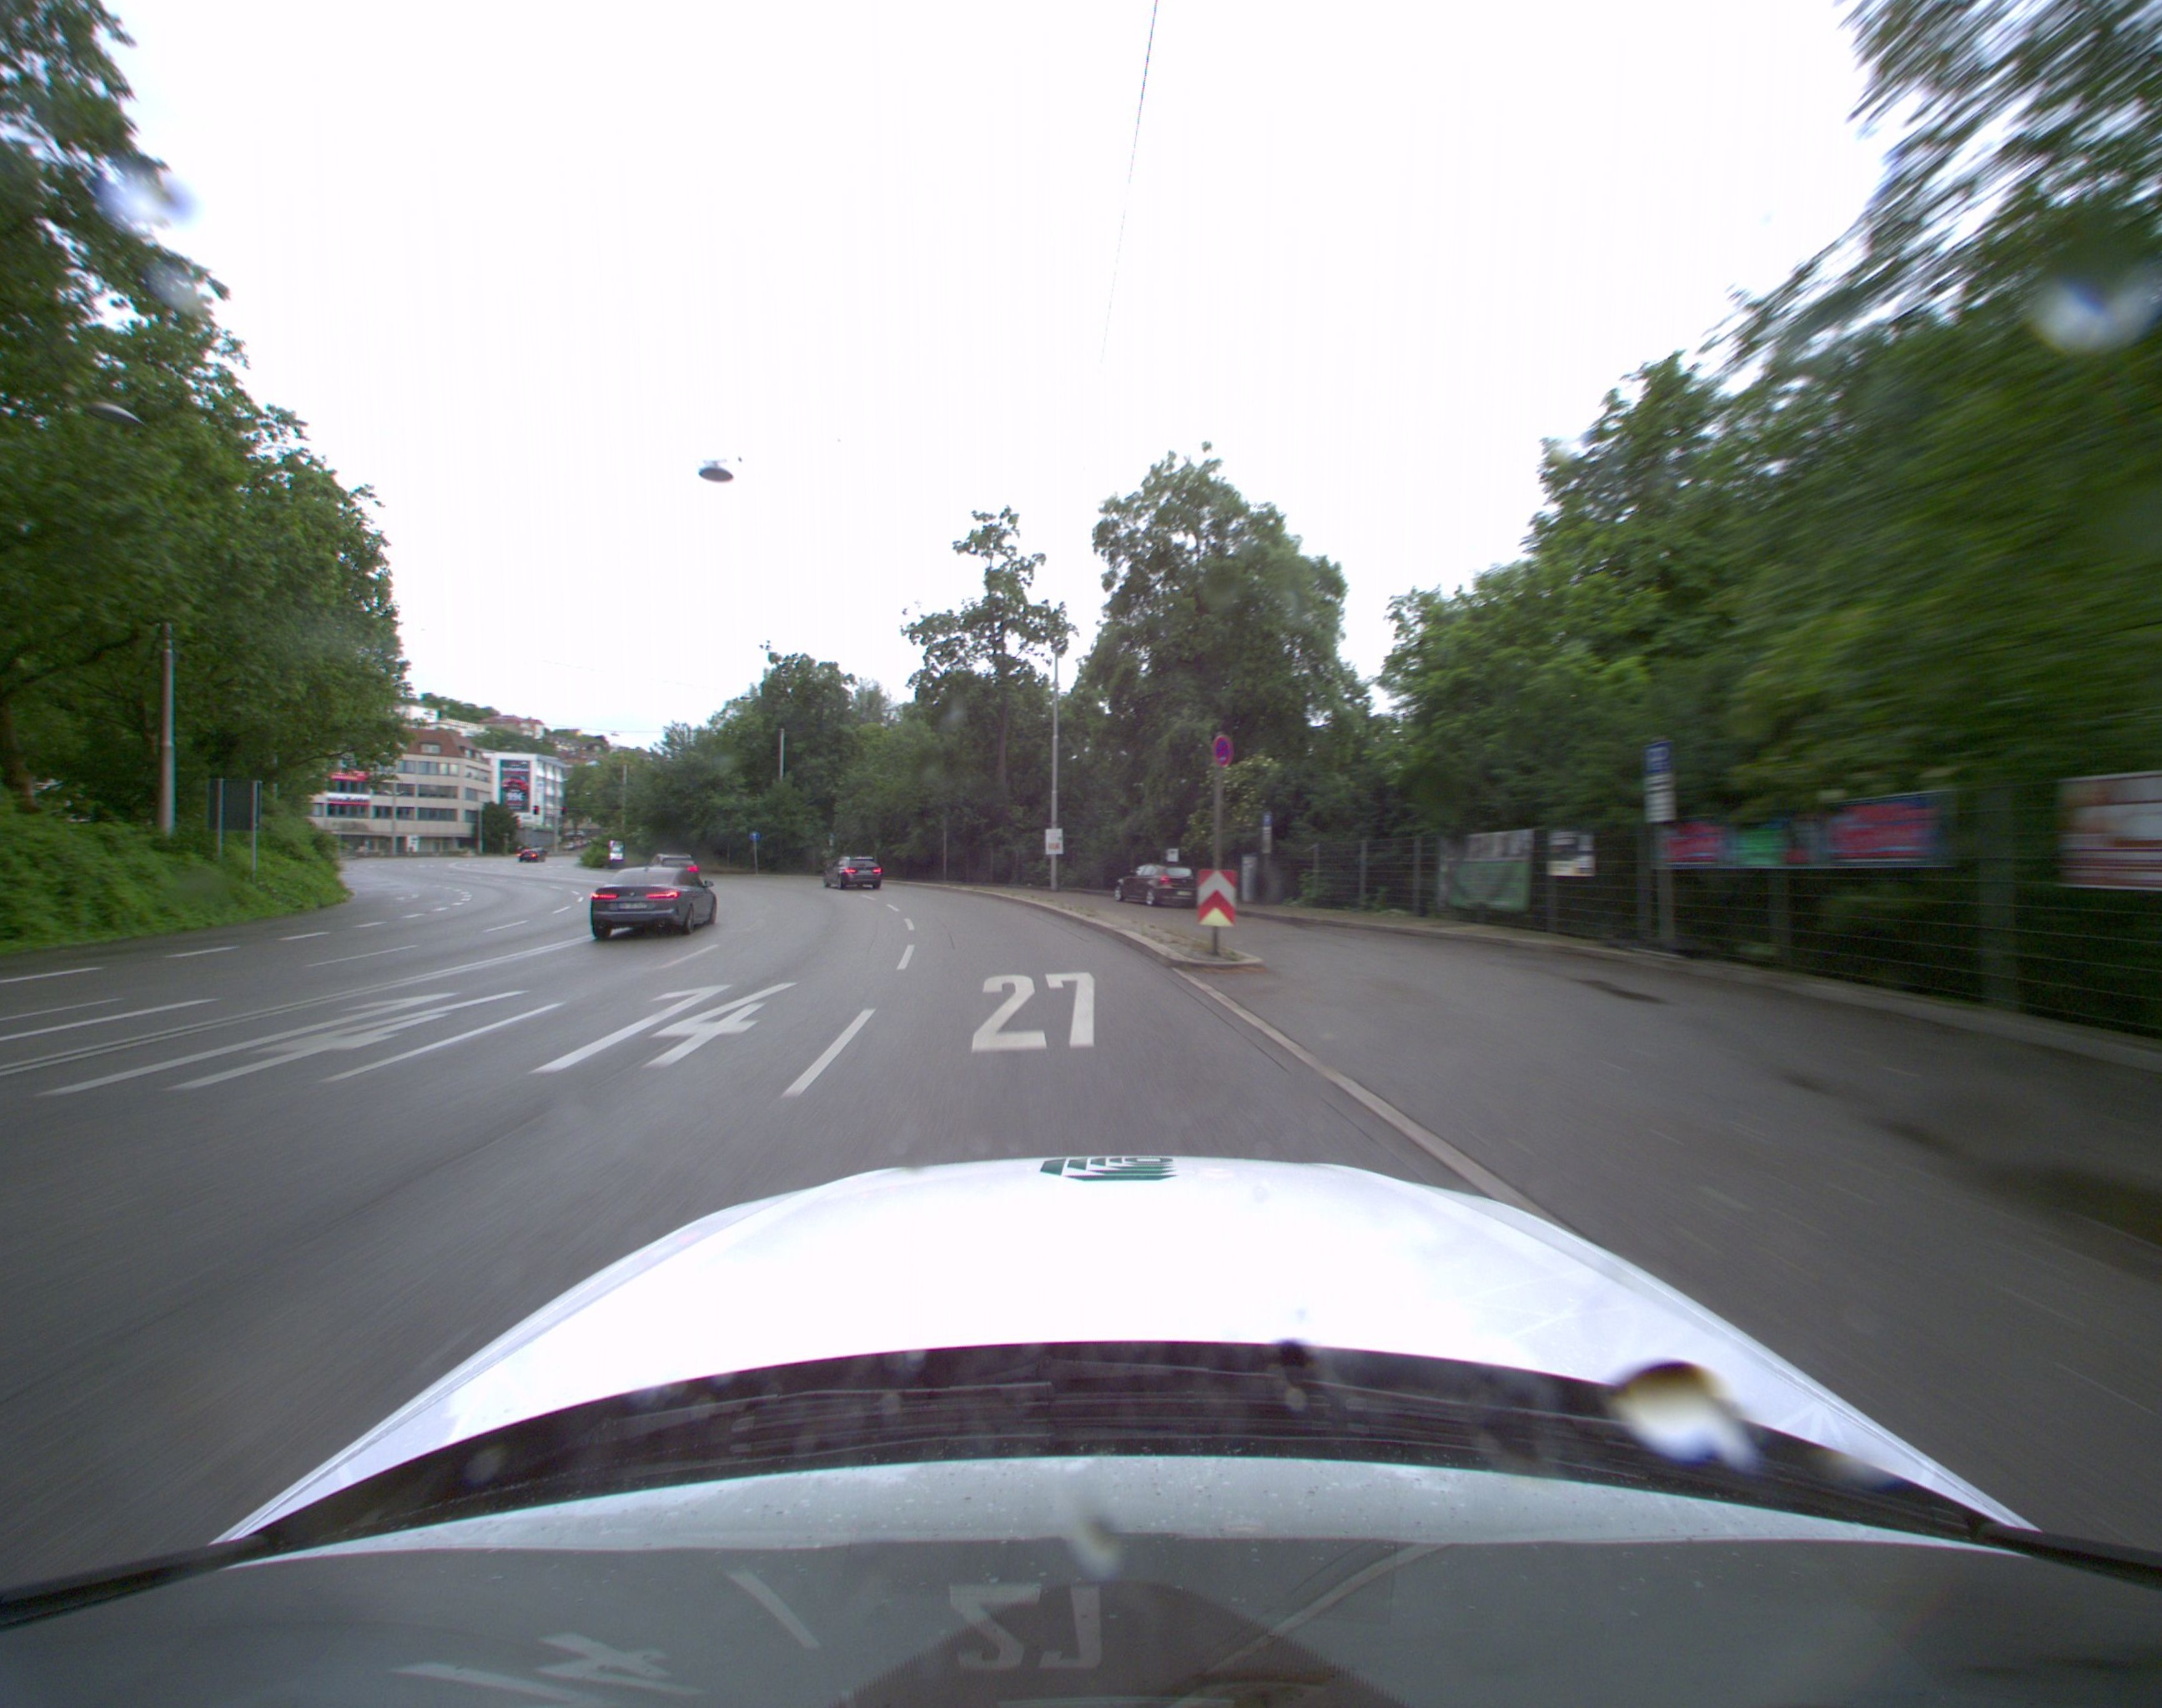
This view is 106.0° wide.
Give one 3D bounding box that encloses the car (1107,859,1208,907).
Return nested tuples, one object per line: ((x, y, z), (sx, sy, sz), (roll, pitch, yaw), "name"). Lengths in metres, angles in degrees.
((2.559, 0.967, 28.273), (1.693, 1.426, 4.340), (3, -1, -21), "car")

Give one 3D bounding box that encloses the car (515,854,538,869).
((-62.510, 0.869, 91.791), (1.841, 1.651, 3.961), (-1, 0, -30), "car")

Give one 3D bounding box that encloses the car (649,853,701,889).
((-19.378, 0.775, 38.797), (1.769, 1.586, 4.368), (-1, 1, -32), "car")

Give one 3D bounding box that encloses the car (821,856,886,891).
((-10.458, 0.916, 37.228), (1.769, 1.432, 4.369), (-2, -2, -30), "car")

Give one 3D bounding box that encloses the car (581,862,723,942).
((-9.253, 0.933, 17.977), (1.667, 1.415, 4.519), (0, 1, -13), "car")
